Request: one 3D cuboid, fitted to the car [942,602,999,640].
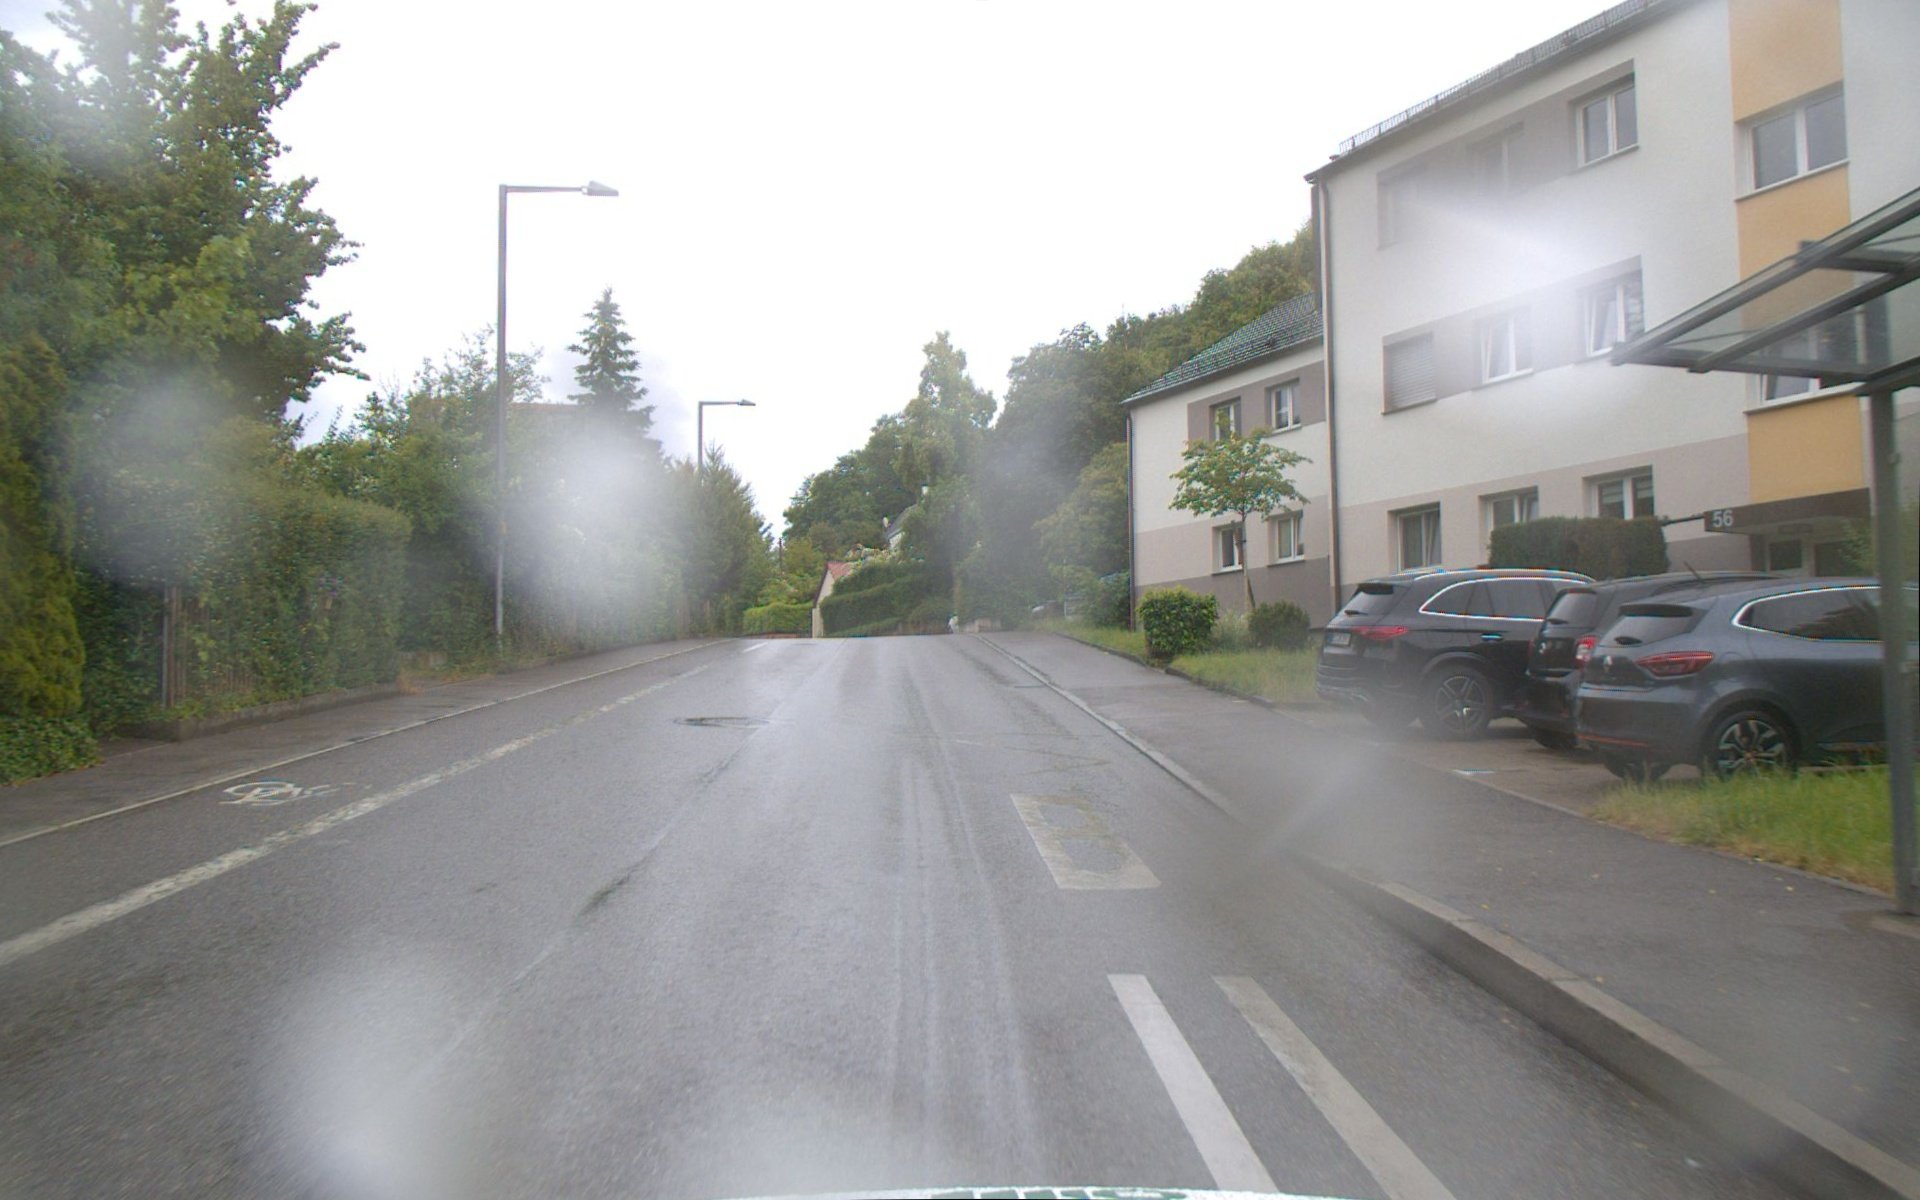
[{"bbox_3d":[0.460,1.007,78.441,1.508,1.562,3.825,-5,0,-18],"label":"car"}]

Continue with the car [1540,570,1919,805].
[{"bbox_3d":[6.287,0.550,11.801,3.669,1.484,1.723,-1,1,-4],"label":"car"}]

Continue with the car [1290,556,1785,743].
[{"bbox_3d":[5.836,0.449,16.954,4.442,1.689,1.852,-1,1,-9],"label":"car"}]

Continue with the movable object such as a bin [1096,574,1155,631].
[{"bbox_3d":[4.480,0.067,44.745,1.231,1.524,0.970,-1,0,-36],"label":"movable object such as a bin"}]

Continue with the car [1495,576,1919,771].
[{"bbox_3d":[6.641,0.590,14.437,3.370,1.522,1.666,-1,1,-3],"label":"car"}]
